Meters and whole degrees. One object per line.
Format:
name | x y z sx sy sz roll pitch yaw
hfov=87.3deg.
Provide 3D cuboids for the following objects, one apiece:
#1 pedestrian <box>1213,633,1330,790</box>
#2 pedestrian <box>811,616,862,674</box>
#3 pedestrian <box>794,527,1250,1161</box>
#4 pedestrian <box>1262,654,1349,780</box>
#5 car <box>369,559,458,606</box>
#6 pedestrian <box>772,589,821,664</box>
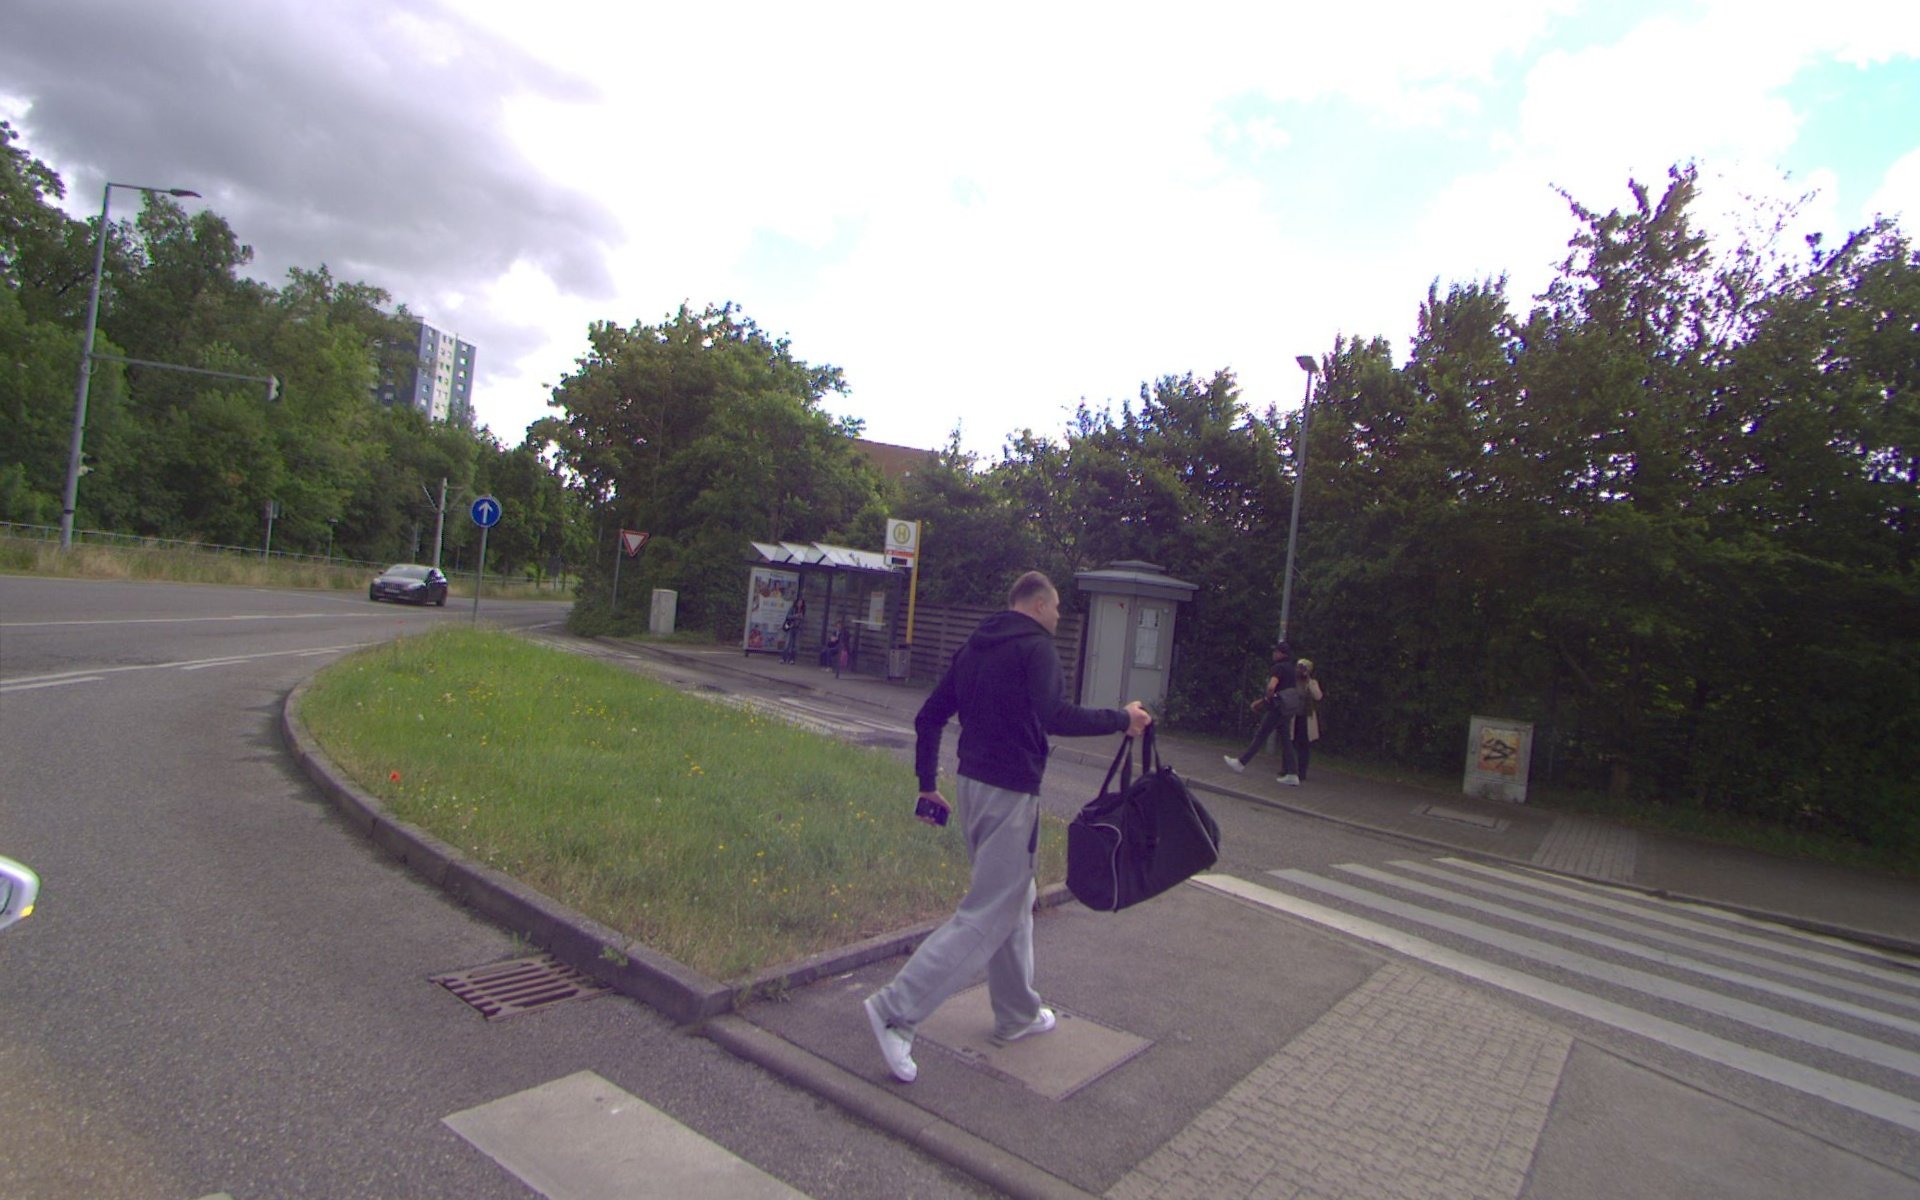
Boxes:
pedestrian | 4.089 1.441 13.195 0.970 1.845 0.854 9 2 39
pedestrian | -2.801 1.022 22.824 0.745 1.184 0.762 7 -1 -42
pedestrian | 0.197 0.719 3.491 1.052 1.768 0.949 7 -1 -35
pedestrian | 4.758 1.601 13.851 0.761 1.613 0.683 6 -1 45
car | -20.421 -0.603 37.785 1.733 1.451 4.418 7 -2 -14
pedestrian | -3.915 0.635 24.118 0.765 1.670 0.680 7 -1 -38
